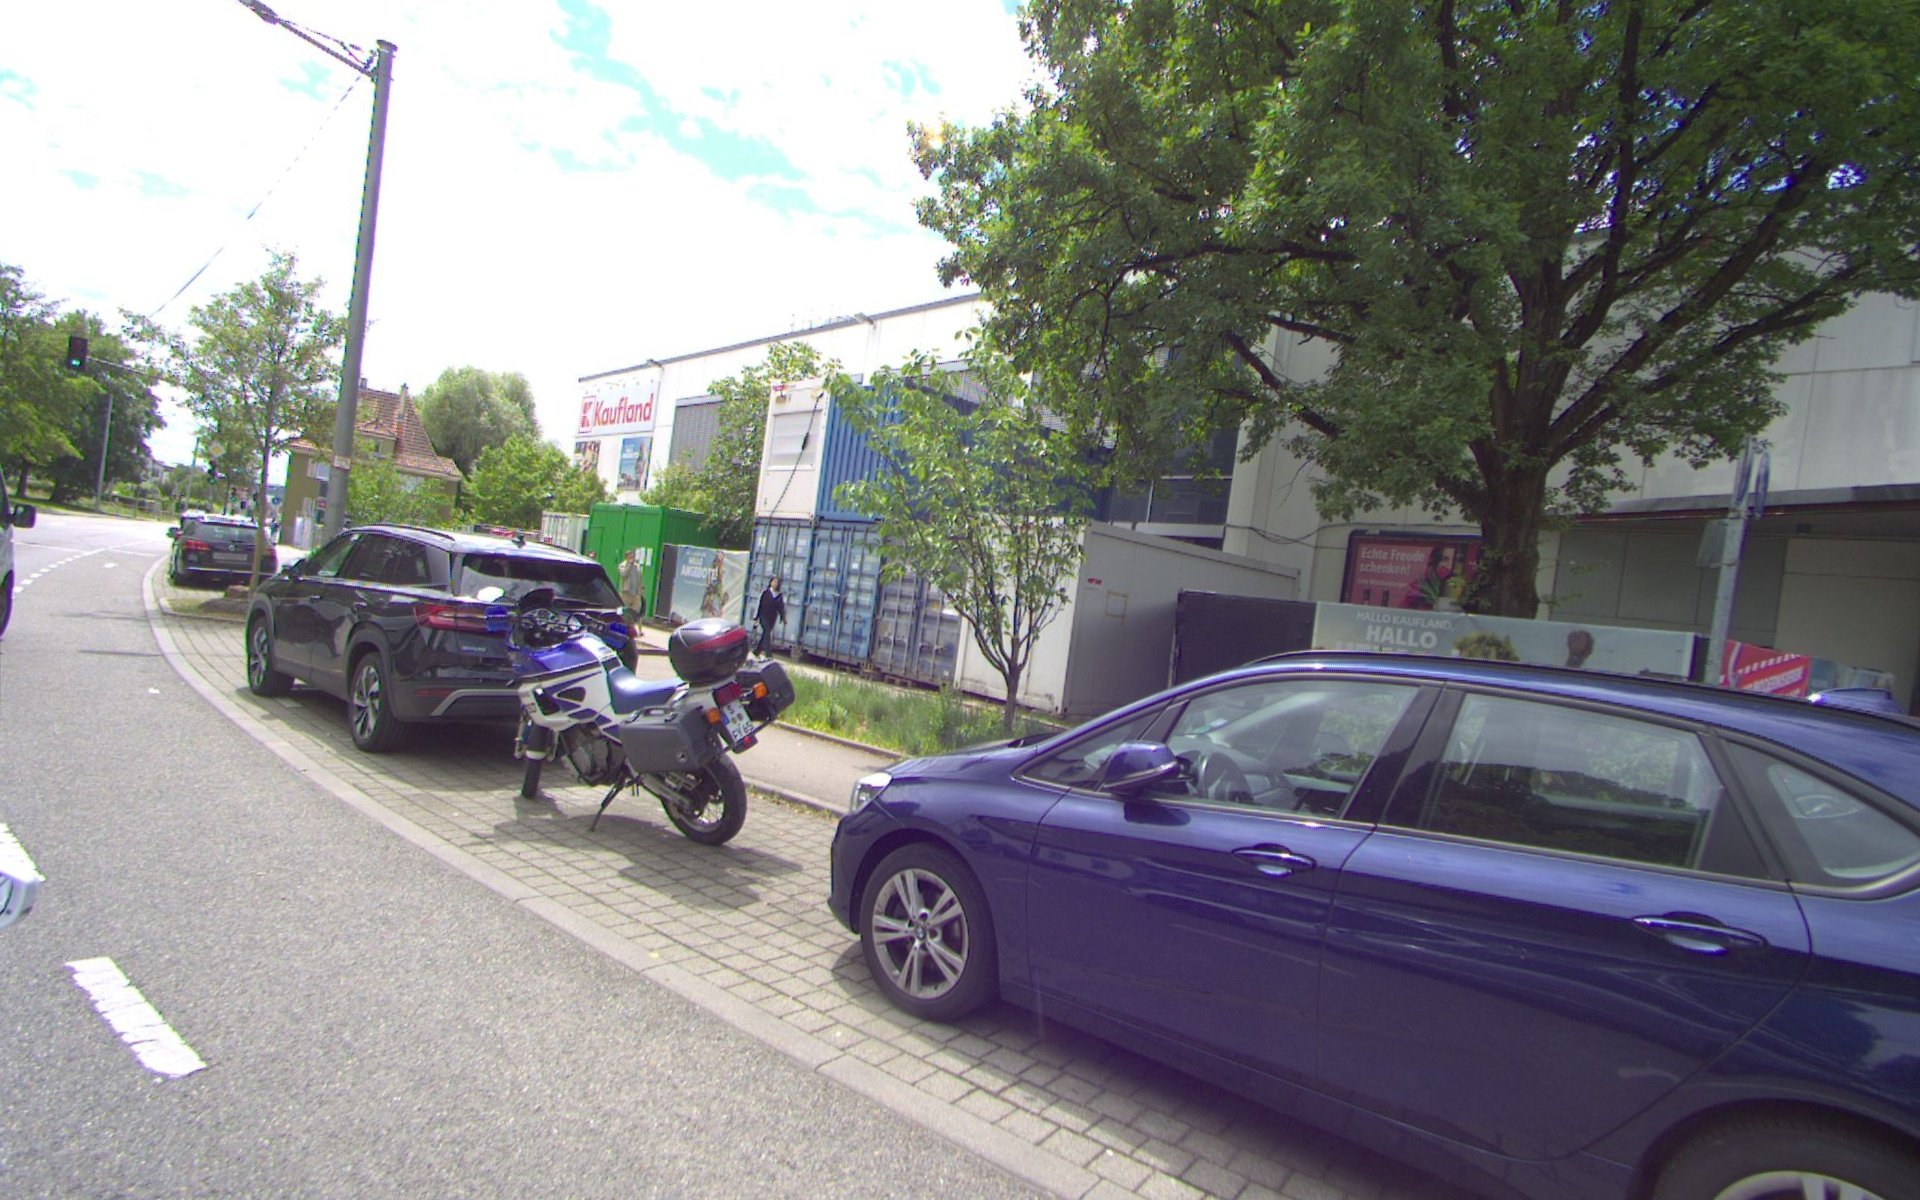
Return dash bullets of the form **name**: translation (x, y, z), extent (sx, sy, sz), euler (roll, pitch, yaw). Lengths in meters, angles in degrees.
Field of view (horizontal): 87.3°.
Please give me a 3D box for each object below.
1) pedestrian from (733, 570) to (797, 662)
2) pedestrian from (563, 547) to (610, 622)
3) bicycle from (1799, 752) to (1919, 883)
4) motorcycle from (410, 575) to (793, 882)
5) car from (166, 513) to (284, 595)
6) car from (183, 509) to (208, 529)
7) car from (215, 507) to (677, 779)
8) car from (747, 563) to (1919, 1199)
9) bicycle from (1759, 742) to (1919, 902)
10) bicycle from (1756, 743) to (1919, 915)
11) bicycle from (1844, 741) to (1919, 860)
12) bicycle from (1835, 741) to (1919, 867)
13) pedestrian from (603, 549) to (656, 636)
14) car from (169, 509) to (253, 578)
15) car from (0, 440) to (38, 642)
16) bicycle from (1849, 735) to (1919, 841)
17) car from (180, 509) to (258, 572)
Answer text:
- **pedestrian**: translation (-3.745, 0.308, 19.297), extent (0.740, 1.637, 0.759), euler (7, 0, -41)
- **pedestrian**: translation (-9.198, -0.383, 24.781), extent (0.649, 1.718, 0.835), euler (7, 0, -41)
- **bicycle**: translation (9.167, 2.127, 9.511), extent (1.777, 1.053, 0.518), euler (7, 1, 44)
- **motorcycle**: translation (-2.180, 0.626, 5.942), extent (2.227, 1.323, 1.069), euler (7, 2, 40)
- **car**: translation (-16.525, -1.078, 22.508), extent (1.756, 1.496, 4.880), euler (4, 1, -40)
- **car**: translation (-74.897, -7.932, 98.542), extent (1.823, 1.637, 4.109), euler (6, 0, -37)
- **car**: translation (-4.664, 0.196, 8.721), extent (4.779, 1.642, 1.875), euler (7, 1, 42)
- **car**: translation (1.451, 0.897, 3.627), extent (4.365, 1.598, 1.914), euler (7, 1, 39)
- **bicycle**: translation (8.255, 1.990, 8.872), extent (0.495, 1.169, 1.762), euler (7, -1, -25)
- **bicycle**: translation (7.639, 1.894, 8.107), extent (0.446, 1.169, 1.778), euler (7, -1, -29)
- **bicycle**: translation (10.619, 2.228, 10.656), extent (0.437, 1.169, 1.747), euler (7, -1, -41)
- **bicycle**: translation (10.091, 2.168, 10.241), extent (0.423, 1.169, 1.643), euler (7, -1, -39)
- **pedestrian**: translation (-6.884, -0.159, 20.936), extent (0.648, 1.717, 0.716), euler (7, 0, -41)
- **car**: translation (-19.646, -1.505, 26.355), extent (1.560, 1.511, 3.958), euler (6, 0, -38)
- **car**: translation (-9.285, -0.582, 8.065), extent (1.929, 1.983, 4.787), euler (10, -2, -35)
- **bicycle**: translation (11.962, 2.355, 11.983), extent (0.526, 1.169, 1.894), euler (7, -1, -36)
- **car**: translation (-22.823, -1.857, 30.924), extent (1.727, 1.637, 4.340), euler (4, 1, -38)
